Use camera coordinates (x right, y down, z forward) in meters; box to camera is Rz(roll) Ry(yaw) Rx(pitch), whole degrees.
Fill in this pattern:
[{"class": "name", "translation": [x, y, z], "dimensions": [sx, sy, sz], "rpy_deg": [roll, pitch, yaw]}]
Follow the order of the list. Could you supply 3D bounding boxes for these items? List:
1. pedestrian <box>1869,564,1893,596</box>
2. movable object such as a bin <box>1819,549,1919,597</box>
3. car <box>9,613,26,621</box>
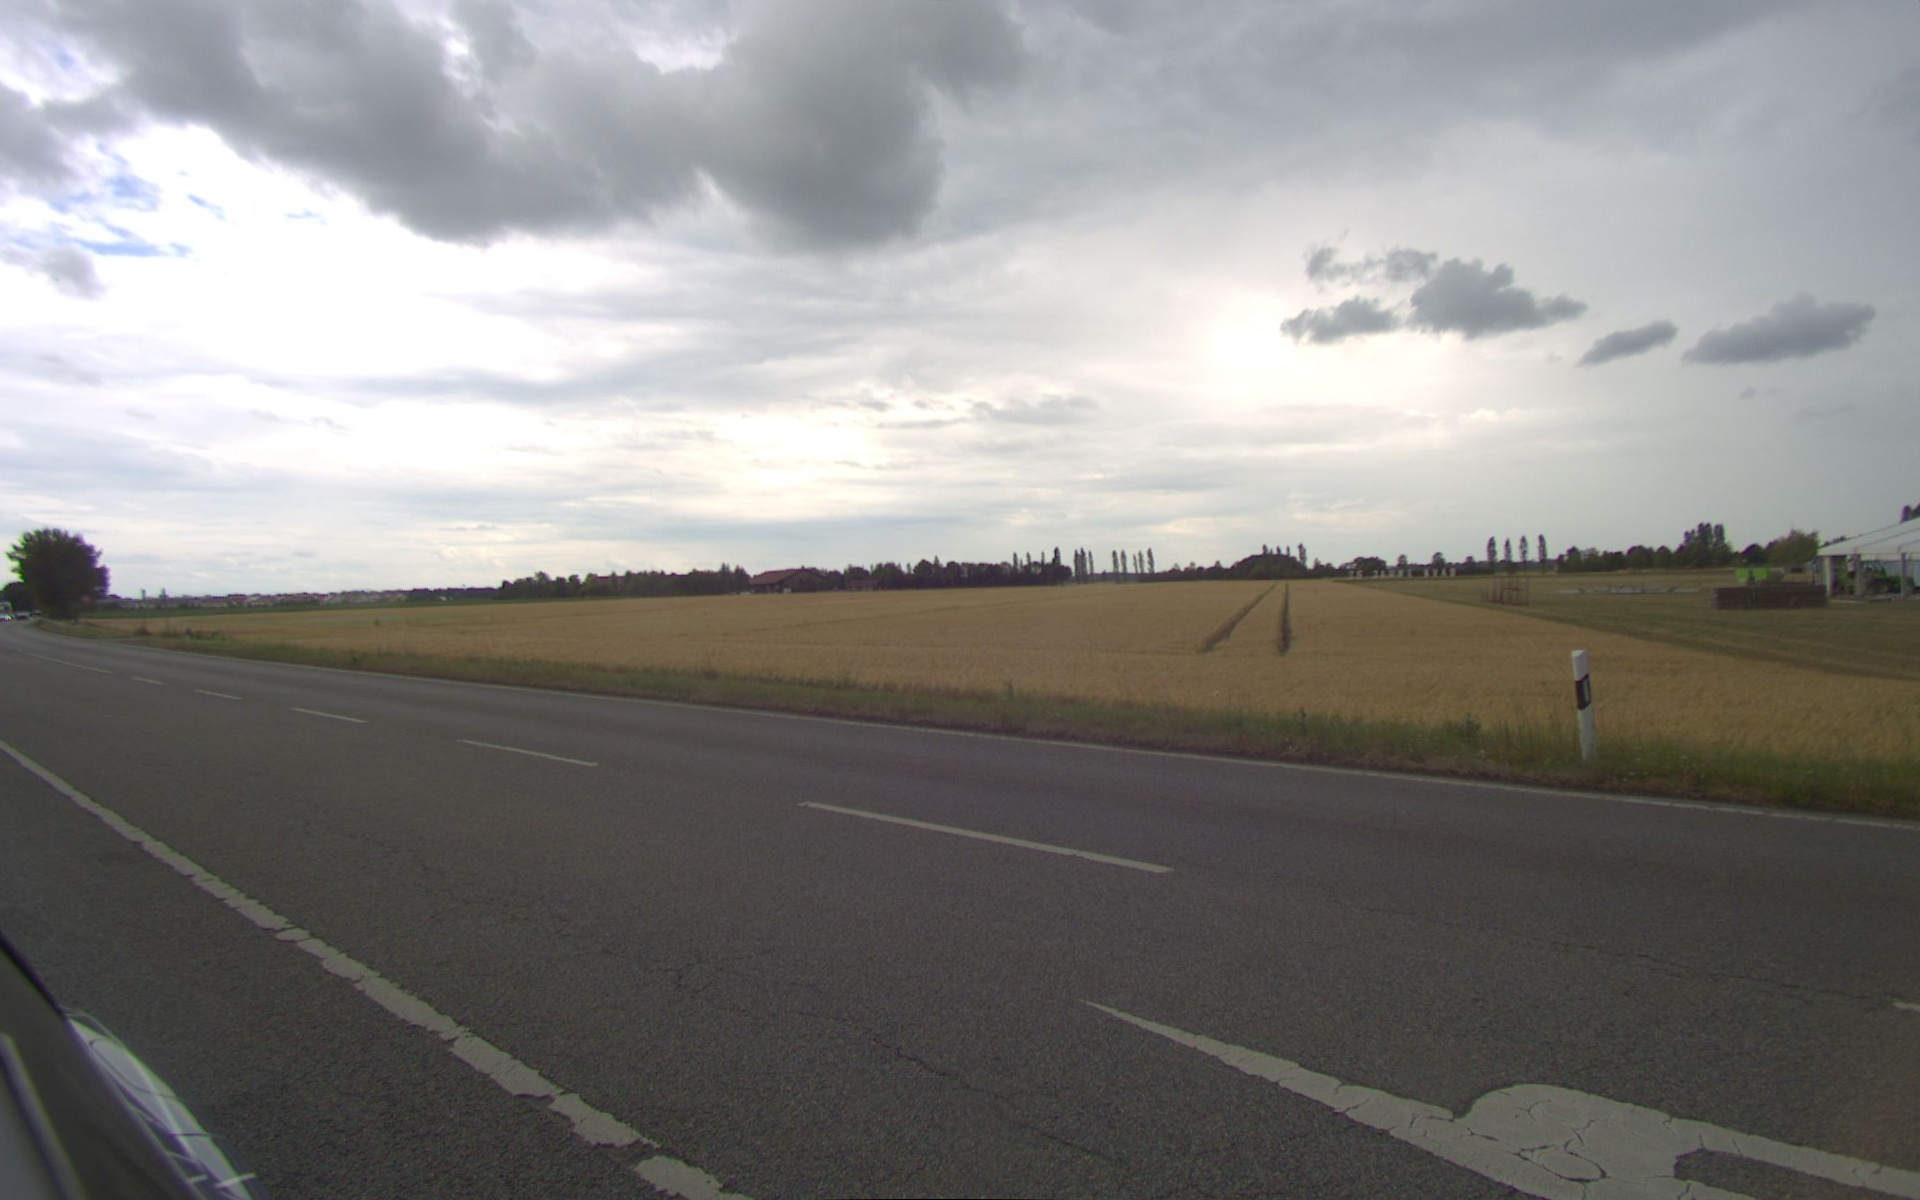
[{"class": "pedestrian", "translation": [59.867, -1.286, 65.790], "dimensions": [0.800, 2.029, 1.019], "rpy_deg": [-1, 0, 19]}, {"class": "movable object such as a bin", "translation": [65.059, -1.918, 71.536], "dimensions": [4.127, 3.201, 7.534], "rpy_deg": [-1, 1, 20]}, {"class": "car", "translation": [-176.182, 3.211, 189.233], "dimensions": [1.803, 1.421, 4.434], "rpy_deg": [-1, 0, -37]}]
